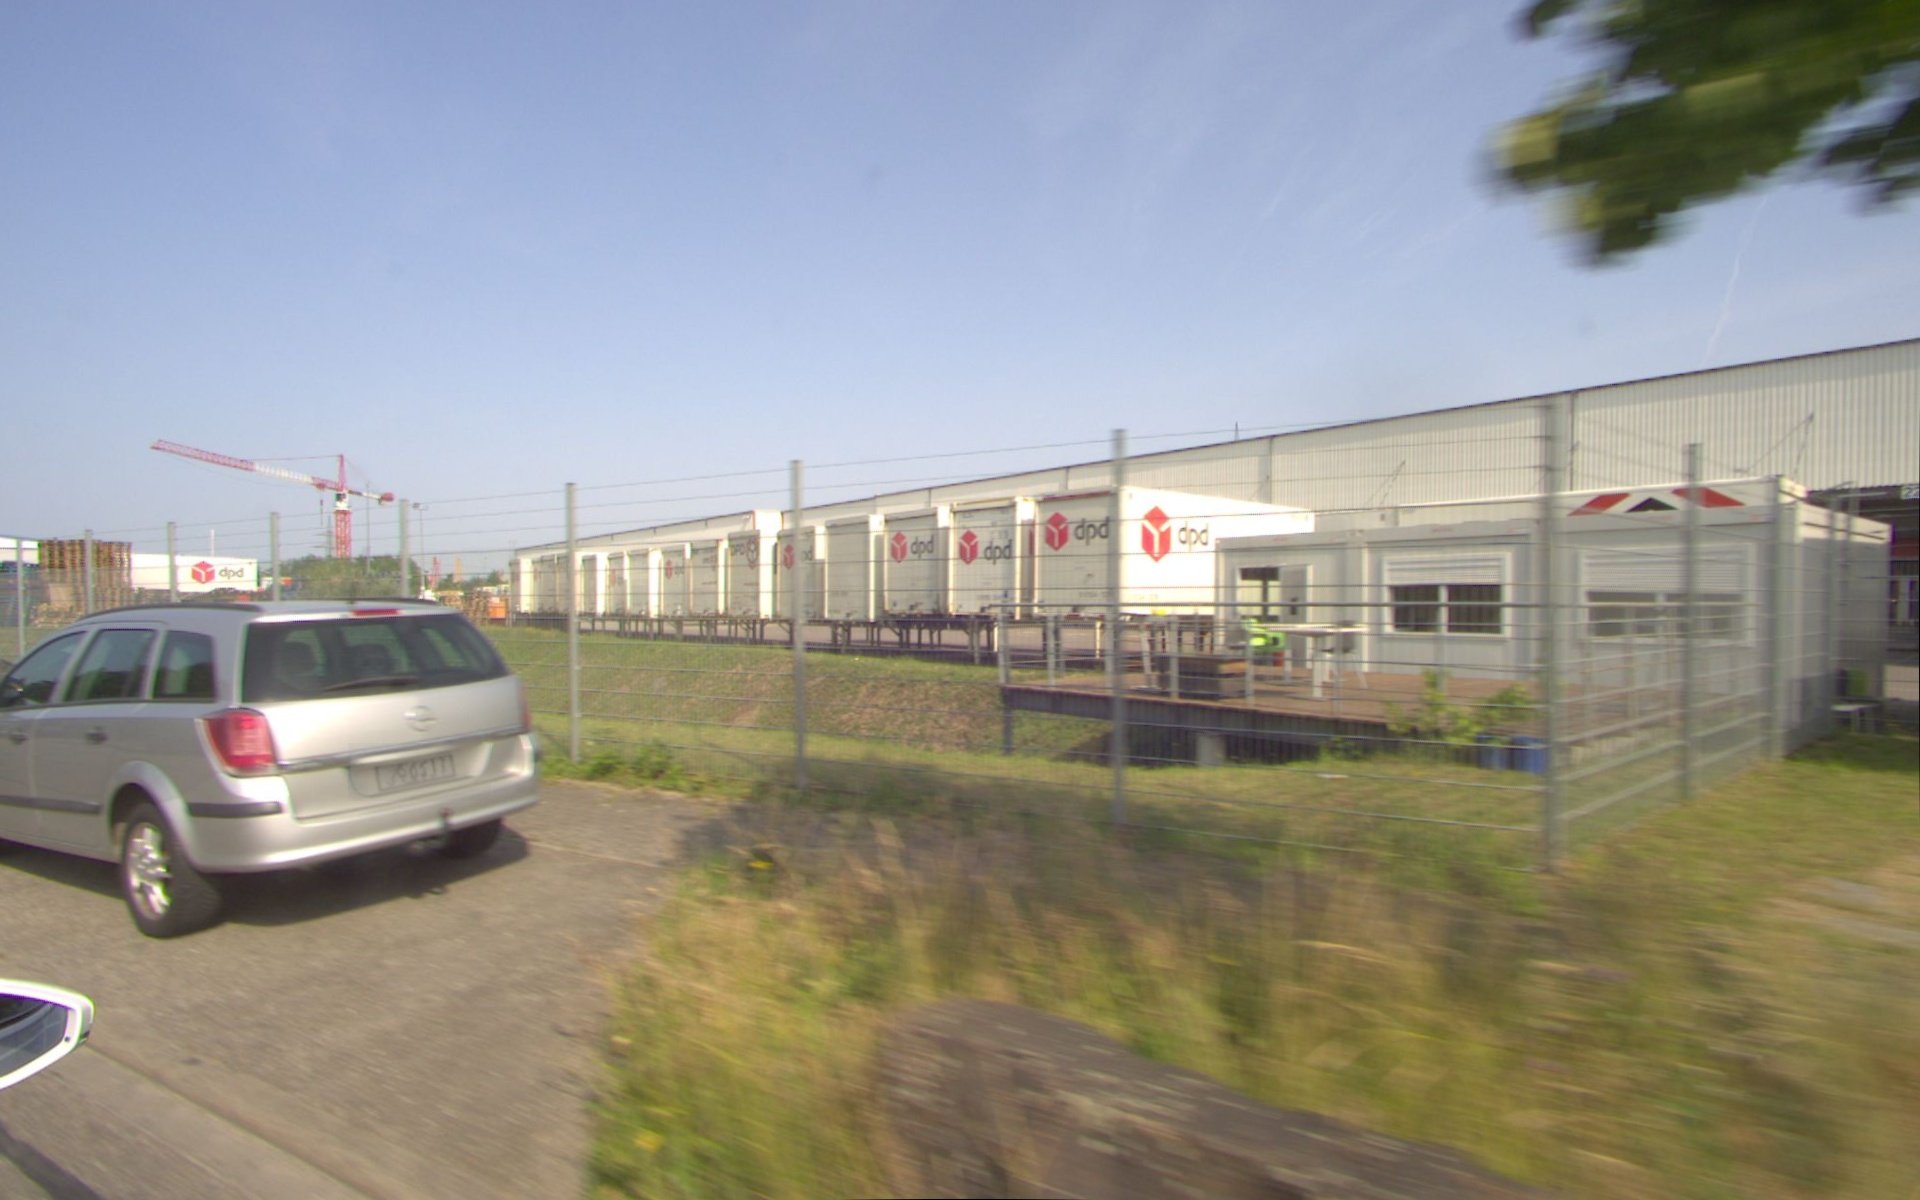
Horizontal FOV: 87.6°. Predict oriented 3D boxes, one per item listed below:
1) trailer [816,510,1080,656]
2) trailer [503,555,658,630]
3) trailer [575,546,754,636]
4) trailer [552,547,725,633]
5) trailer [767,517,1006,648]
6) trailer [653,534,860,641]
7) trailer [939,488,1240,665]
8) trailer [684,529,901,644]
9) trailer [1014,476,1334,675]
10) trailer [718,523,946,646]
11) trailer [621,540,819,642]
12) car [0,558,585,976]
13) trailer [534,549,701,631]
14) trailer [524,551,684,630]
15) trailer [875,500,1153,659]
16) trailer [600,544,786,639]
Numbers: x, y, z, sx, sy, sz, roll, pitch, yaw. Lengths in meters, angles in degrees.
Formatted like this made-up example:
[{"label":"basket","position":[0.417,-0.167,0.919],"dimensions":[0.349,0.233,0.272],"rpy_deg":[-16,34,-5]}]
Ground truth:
[{"label":"trailer","position":[-0.149,-0.319,30.960],"dimensions":[8.247,3.944,2.751],"rpy_deg":[3,-1,-41]},{"label":"trailer","position":[-21.879,-0.358,58.074],"dimensions":[7.905,3.944,2.718],"rpy_deg":[3,-1,-41]},{"label":"trailer","position":[-14.346,-0.341,49.022],"dimensions":[7.905,3.944,2.751],"rpy_deg":[3,-1,-41]},{"label":"trailer","position":[-16.295,-0.388,51.150],"dimensions":[7.905,3.944,2.751],"rpy_deg":[3,-1,-41]},{"label":"trailer","position":[-2.330,-0.419,34.256],"dimensions":[7.975,3.944,2.751],"rpy_deg":[3,-1,-41]},{"label":"trailer","position":[-8.225,-0.387,41.240],"dimensions":[7.905,3.944,2.751],"rpy_deg":[3,-1,-41]},{"label":"trailer","position":[3.644,-0.372,26.163],"dimensions":[8.474,3.944,2.751],"rpy_deg":[3,-1,-41]},{"label":"trailer","position":[-6.319,-0.390,38.674],"dimensions":[7.905,3.944,2.751],"rpy_deg":[3,-1,-41]},{"label":"trailer","position":[5.347,-0.340,23.693],"dimensions":[8.474,3.944,2.751],"rpy_deg":[3,-1,-41]},{"label":"trailer","position":[-4.461,-0.413,36.324],"dimensions":[7.905,3.944,2.751],"rpy_deg":[3,-1,-41]},{"label":"trailer","position":[-10.262,-0.259,43.457],"dimensions":[7.905,3.944,2.751],"rpy_deg":[3,-1,-41]},{"label":"car","position":[-4.396,0.631,5.824],"dimensions":[4.383,1.648,1.795],"rpy_deg":[0,2,31]},{"label":"trailer","position":[-18.167,-0.428,53.491],"dimensions":[7.905,3.944,2.751],"rpy_deg":[3,-1,-41]},{"label":"trailer","position":[-19.746,-0.430,55.924],"dimensions":[7.905,3.944,2.718],"rpy_deg":[3,-1,-41]},{"label":"trailer","position":[1.774,-0.358,28.606],"dimensions":[8.247,3.944,2.751],"rpy_deg":[3,-1,-41]},{"label":"trailer","position":[-12.290,-0.291,46.606],"dimensions":[7.905,3.944,2.751],"rpy_deg":[3,-1,-41]}]
